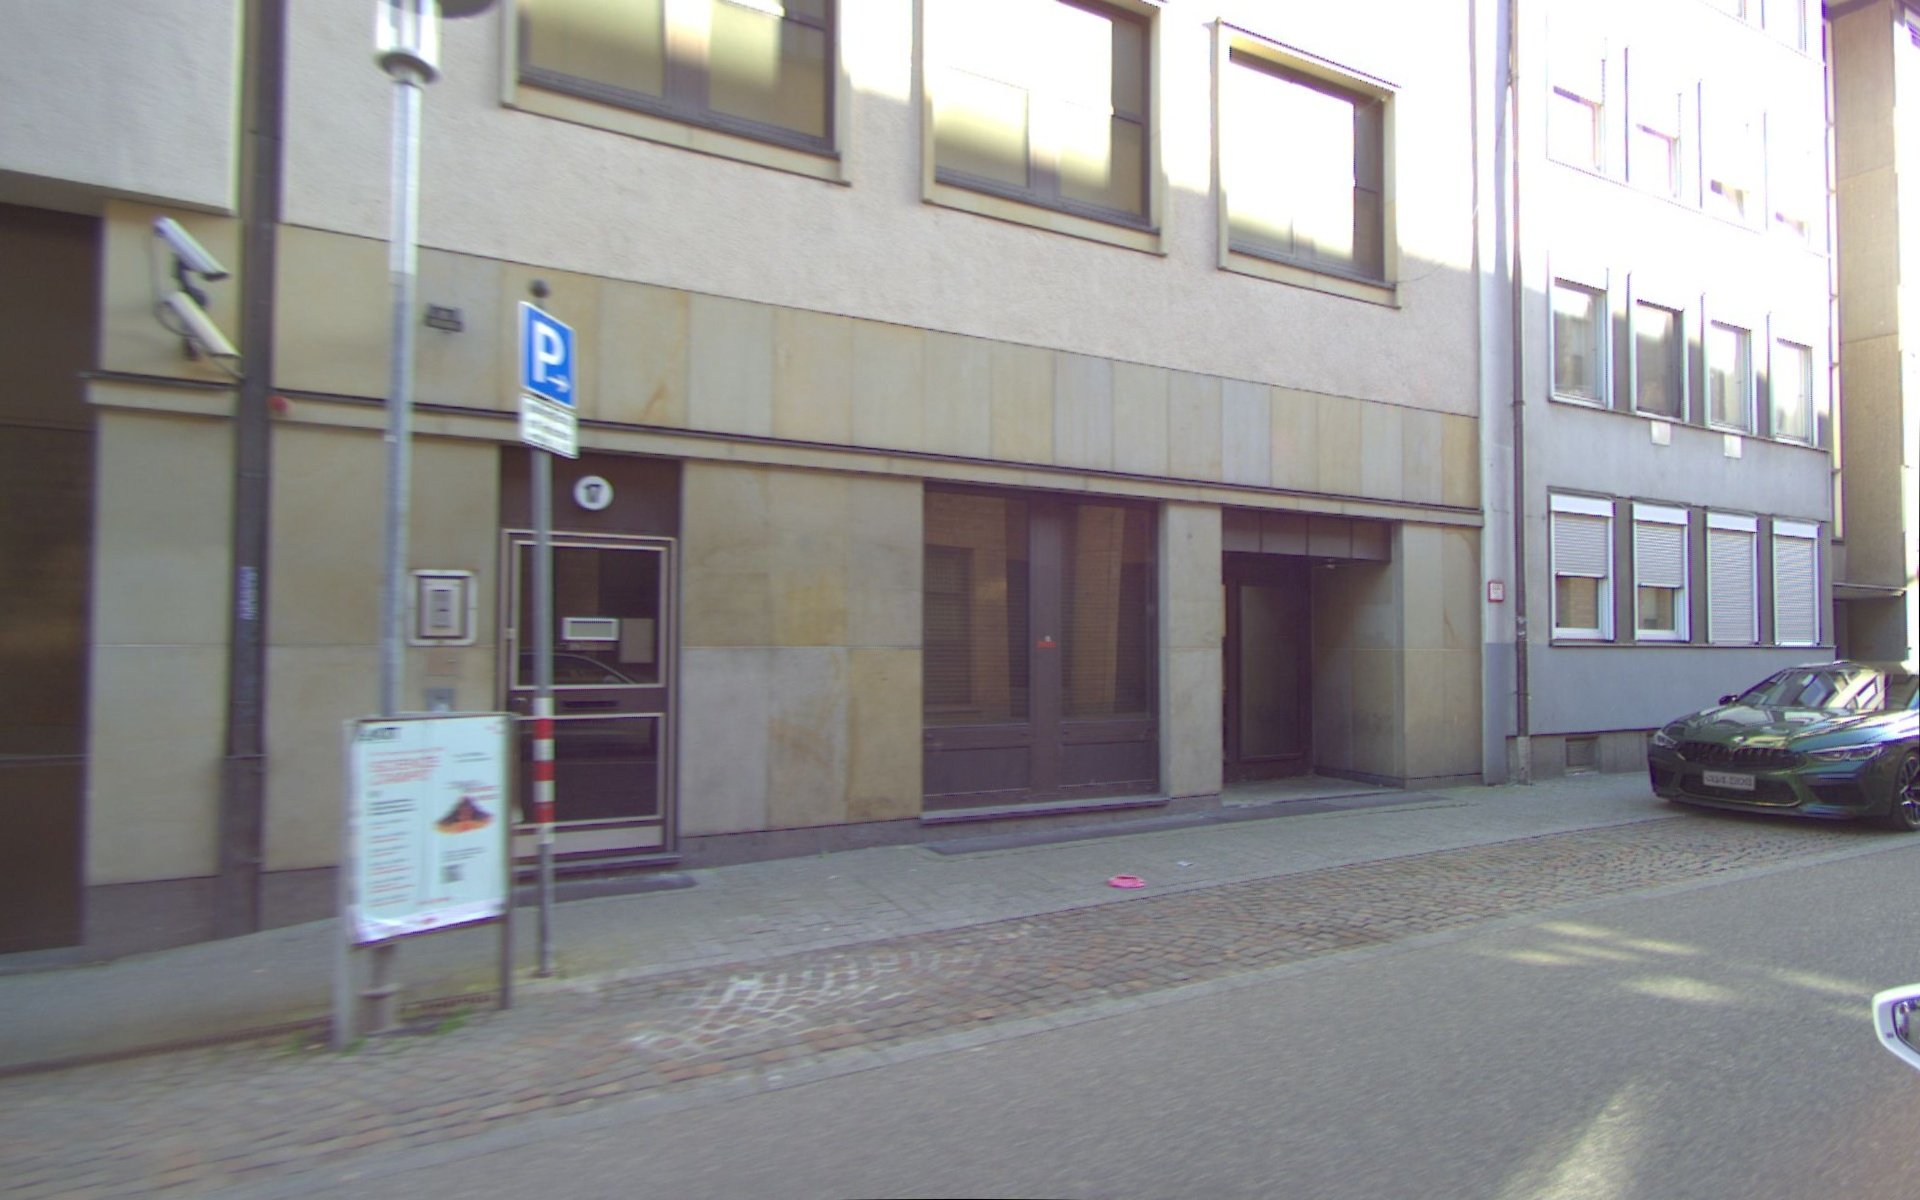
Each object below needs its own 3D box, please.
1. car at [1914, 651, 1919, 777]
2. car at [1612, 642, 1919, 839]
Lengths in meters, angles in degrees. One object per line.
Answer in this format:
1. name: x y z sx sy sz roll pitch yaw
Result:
1. car: 14.118 1.407 12.562 4.285 1.550 1.883 1 -3 -28
2. car: 8.811 1.241 9.907 4.669 1.549 1.884 1 -5 -28
